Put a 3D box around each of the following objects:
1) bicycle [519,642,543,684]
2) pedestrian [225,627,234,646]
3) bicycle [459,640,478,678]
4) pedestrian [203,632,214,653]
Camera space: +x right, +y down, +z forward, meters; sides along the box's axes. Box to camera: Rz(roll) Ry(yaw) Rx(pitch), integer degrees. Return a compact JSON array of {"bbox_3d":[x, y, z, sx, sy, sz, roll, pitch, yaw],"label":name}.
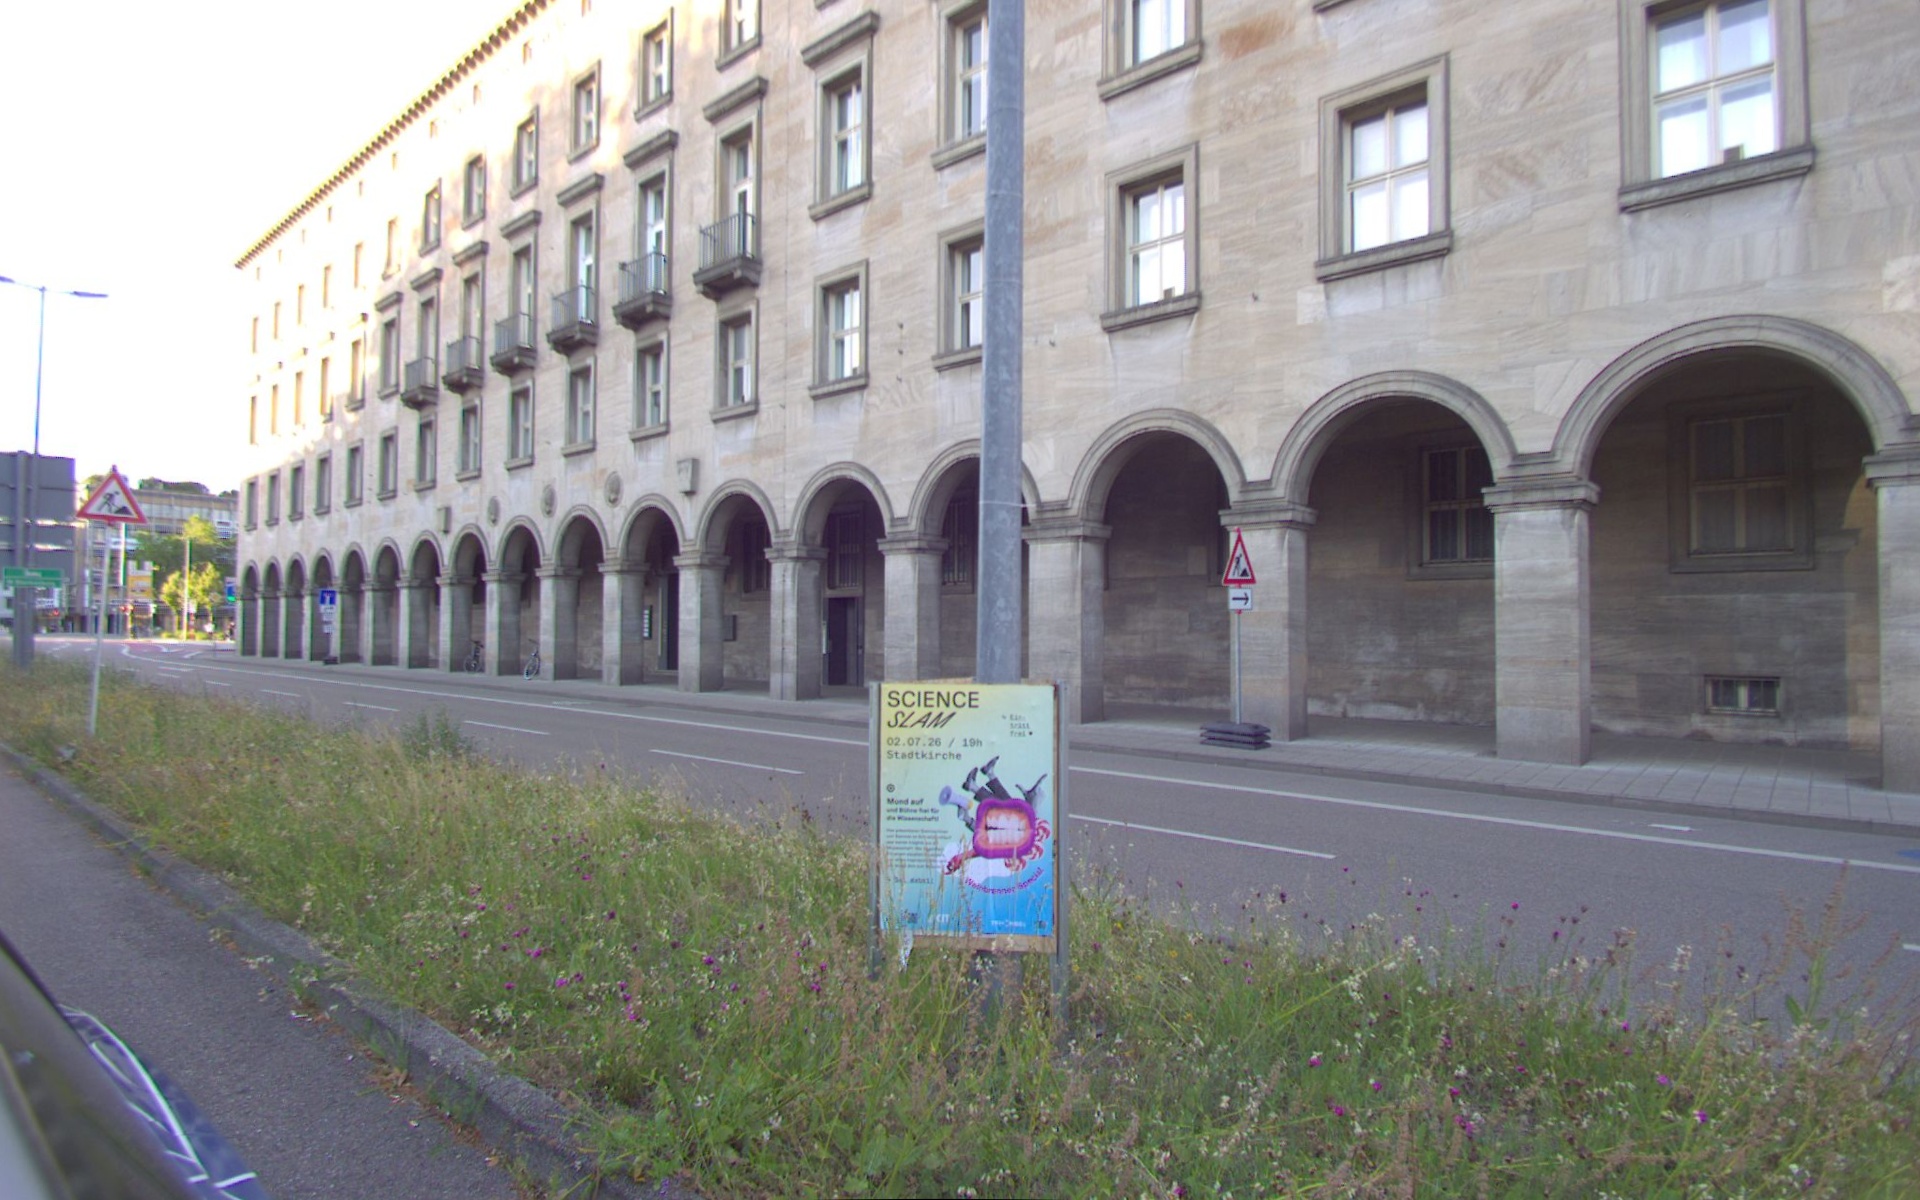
[{"bbox_3d":[-12.727,1.853,30.083,0.505,1.130,2.431,1,-1,-20],"label":"bicycle"},{"bbox_3d":[-61.615,3.090,85.344,0.389,1.553,0.519,-2,-3,41],"label":"pedestrian"},{"bbox_3d":[-16.123,1.919,33.203,0.505,1.188,2.431,1,-2,-25],"label":"bicycle"},{"bbox_3d":[-62.672,3.516,84.390,0.506,1.771,0.630,-2,-3,41],"label":"pedestrian"}]
